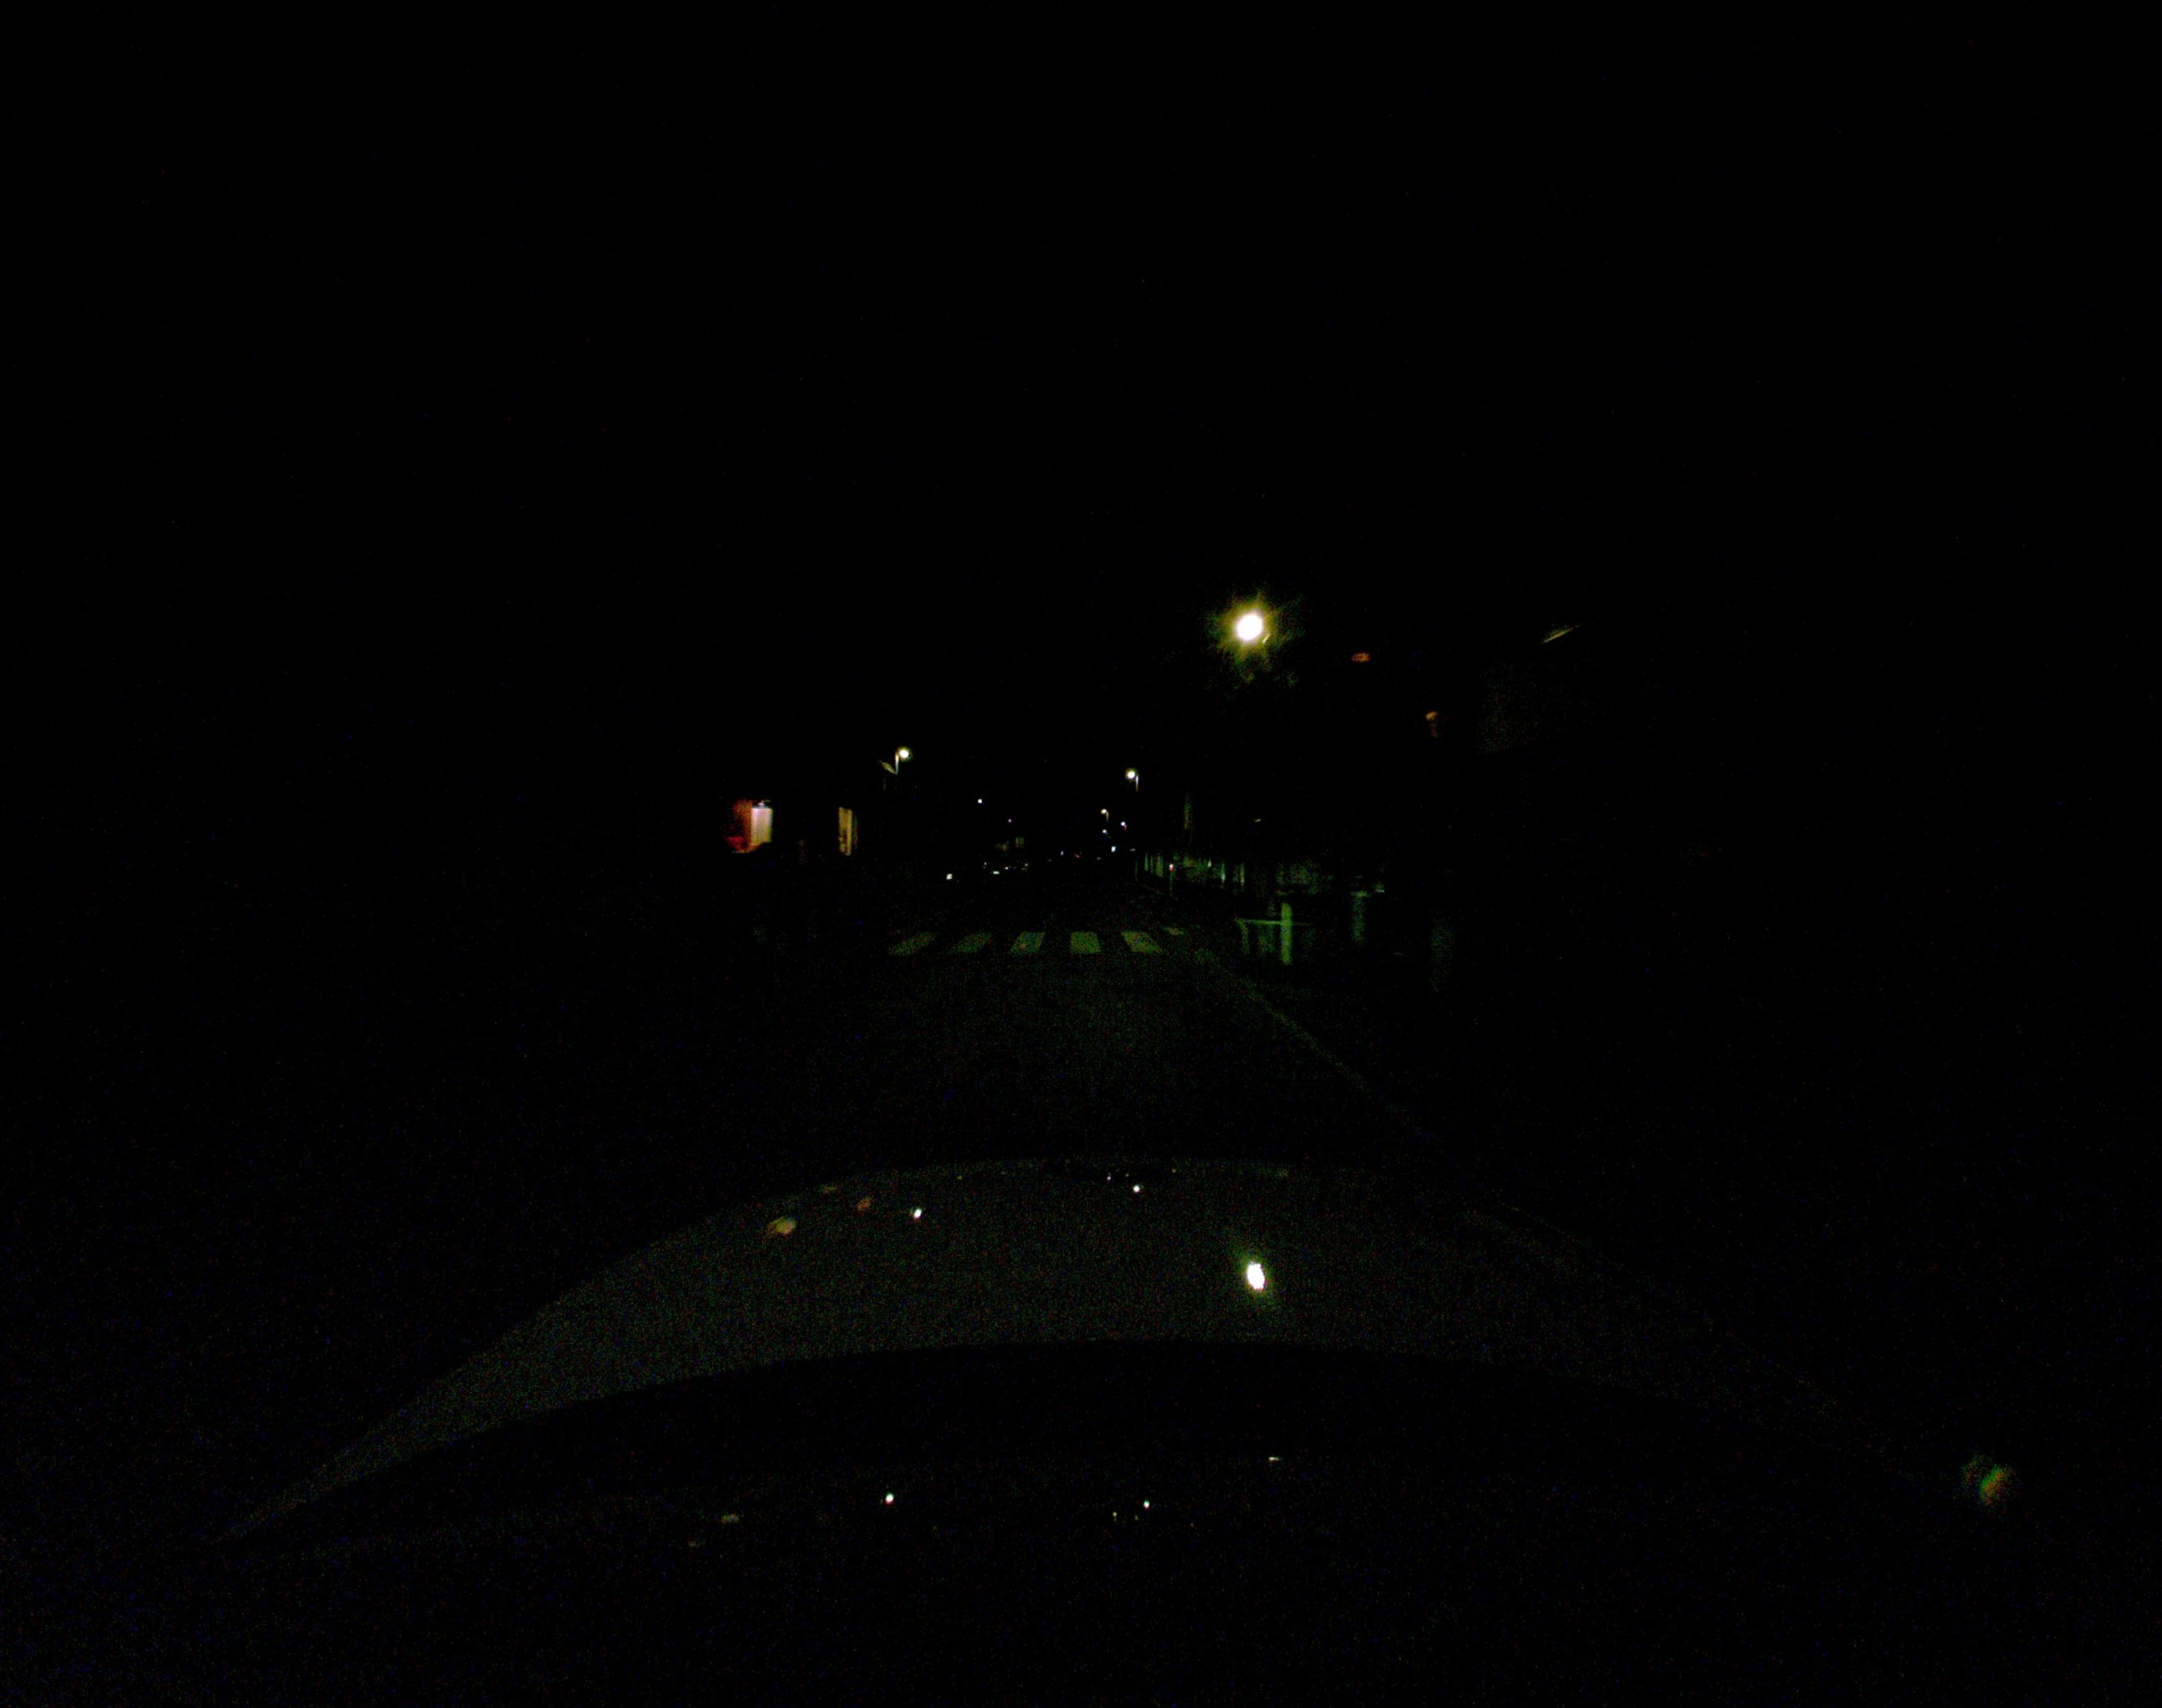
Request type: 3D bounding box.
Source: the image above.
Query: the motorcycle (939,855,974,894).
[{"bbox_3d":[-4.852,0.779,31.875,0.742,1.452,2.200,0,0,8],"label":"motorcycle"}]

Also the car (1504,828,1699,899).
[{"bbox_3d":[13.127,0.246,20.670,3.834,1.496,1.676,-4,-1,-2],"label":"car"}]

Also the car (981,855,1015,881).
[{"bbox_3d":[-5.152,0.853,50.894,1.682,1.510,4.277,0,0,0],"label":"car"}]

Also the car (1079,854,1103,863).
[{"bbox_3d":[2.253,1.039,181.198,5.153,1.887,2.106,-1,0,8],"label":"car"}]

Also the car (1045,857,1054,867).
[{"bbox_3d":[-6.983,1.820,179.865,1.820,1.987,4.461,2,-2,-2],"label":"car"}]

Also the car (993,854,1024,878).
[{"bbox_3d":[-4.932,0.822,56.072,1.761,1.519,4.277,2,0,-1],"label":"car"}]

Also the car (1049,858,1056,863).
[{"bbox_3d":[-8.018,1.788,228.987,1.679,1.331,3.596,0,0,-2],"label":"car"}]

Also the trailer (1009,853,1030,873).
[{"bbox_3d":[-5.529,0.801,73.306,1.442,1.688,3.427,3,0,2],"label":"trailer"}]

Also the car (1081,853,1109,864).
[{"bbox_3d":[2.725,0.892,156.517,5.170,2.013,2.100,-1,0,-3],"label":"car"}]

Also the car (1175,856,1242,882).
[{"bbox_3d":[7.464,0.861,47.739,3.697,1.473,1.731,1,-1,1],"label":"car"}]

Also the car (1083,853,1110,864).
[{"bbox_3d":[2.951,0.896,159.587,5.170,2.013,2.100,-1,0,-3],"label":"car"}]

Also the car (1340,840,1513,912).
[{"bbox_3d":[8.543,0.523,20.344,3.496,1.525,1.819,-3,0,-2],"label":"car"}]

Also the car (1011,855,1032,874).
[{"bbox_3d":[-5.083,0.917,70.087,1.667,1.522,2.976,3,0,-2],"label":"car"}]
